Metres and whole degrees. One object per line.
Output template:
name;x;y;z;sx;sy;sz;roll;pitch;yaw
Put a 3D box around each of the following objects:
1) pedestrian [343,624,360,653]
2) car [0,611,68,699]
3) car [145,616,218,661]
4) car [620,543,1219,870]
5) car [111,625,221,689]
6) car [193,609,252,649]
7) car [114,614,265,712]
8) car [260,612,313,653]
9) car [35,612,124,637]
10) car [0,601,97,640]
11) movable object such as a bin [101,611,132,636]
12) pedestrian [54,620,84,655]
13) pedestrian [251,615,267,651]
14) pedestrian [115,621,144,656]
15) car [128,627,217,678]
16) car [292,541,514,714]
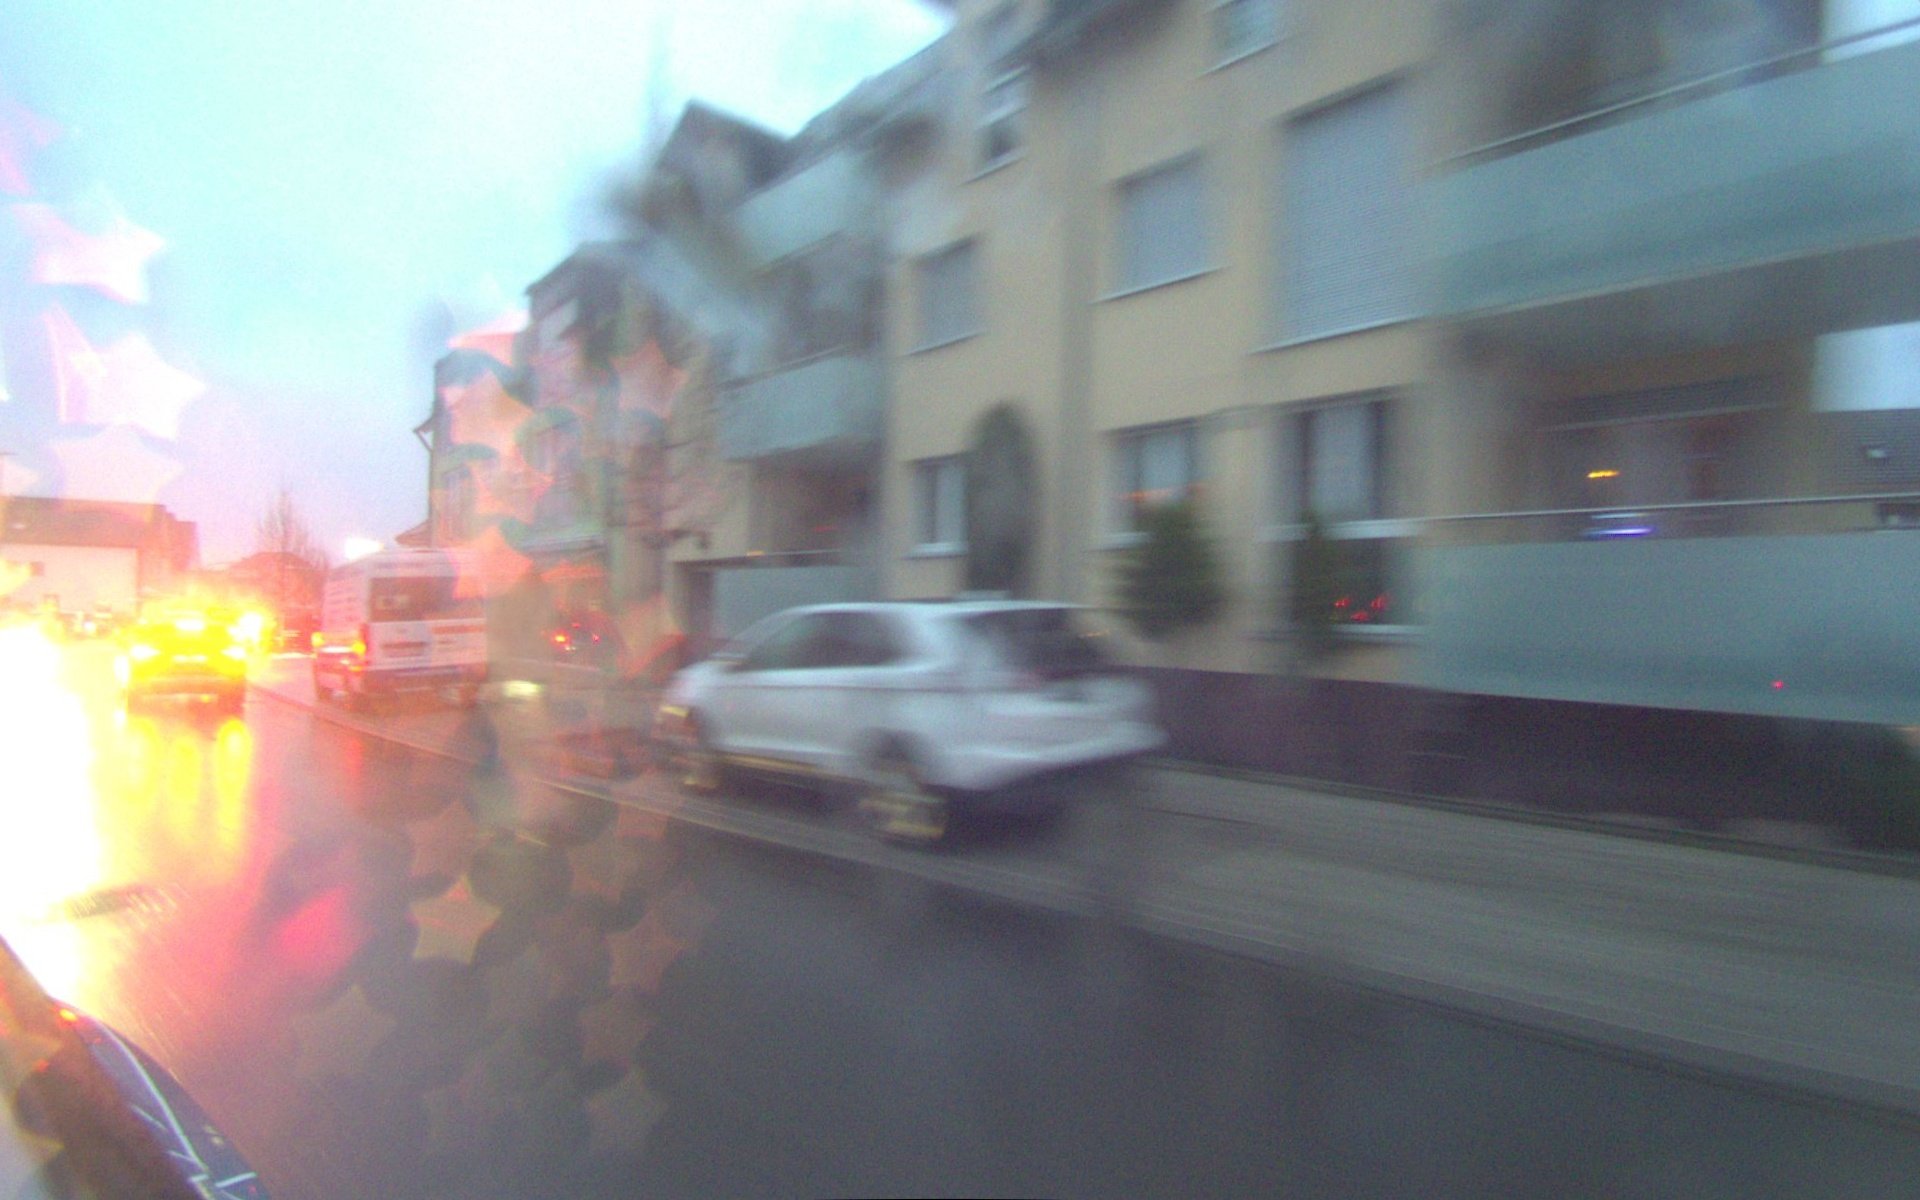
pedestrian;-36.275;2.308;60.357;0.815;1.671;1.100;0;-1;-34
car;-20.557;1.112;21.442;1.967;1.743;4.010;0;-1;-34
car;-29.900;1.533;38.969;1.925;1.559;4.426;3;-5;-34
car;-0.711;0.627;8.385;1.970;1.857;5.308;0;0;-43
car;-21.054;1.486;27.003;1.967;1.567;4.268;3;-3;-34
car;-34.658;1.396;47.656;1.966;1.719;4.980;-1;-1;-33
car;-14.400;1.103;18.814;1.893;1.576;4.233;4;-3;-41
car;-30.080;1.399;45.293;1.854;1.723;4.725;0;-1;-32
car;-56.924;1.597;65.515;3.931;1.497;1.919;2;-1;-29
car;-52.886;1.194;58.515;4.033;2.065;2.007;3;-2;-23
movable object such as a bin;-57.019;1.593;68.413;1.374;1.656;1.265;4;-3;-34
pedestrian;-45.676;1.913;51.879;0.824;1.718;0.848;3;-2;-20
pedestrian;-31.731;1.484;45.816;0.521;1.597;0.577;1;-3;-34
pedestrian;-45.393;2.071;55.328;1.009;1.890;0.932;-1;-1;33
car;-25.517;1.683;32.931;1.832;1.567;4.269;2;-3;-32
car;-10.376;0.408;18.482;2.454;2.579;6.774;0;0;-38
